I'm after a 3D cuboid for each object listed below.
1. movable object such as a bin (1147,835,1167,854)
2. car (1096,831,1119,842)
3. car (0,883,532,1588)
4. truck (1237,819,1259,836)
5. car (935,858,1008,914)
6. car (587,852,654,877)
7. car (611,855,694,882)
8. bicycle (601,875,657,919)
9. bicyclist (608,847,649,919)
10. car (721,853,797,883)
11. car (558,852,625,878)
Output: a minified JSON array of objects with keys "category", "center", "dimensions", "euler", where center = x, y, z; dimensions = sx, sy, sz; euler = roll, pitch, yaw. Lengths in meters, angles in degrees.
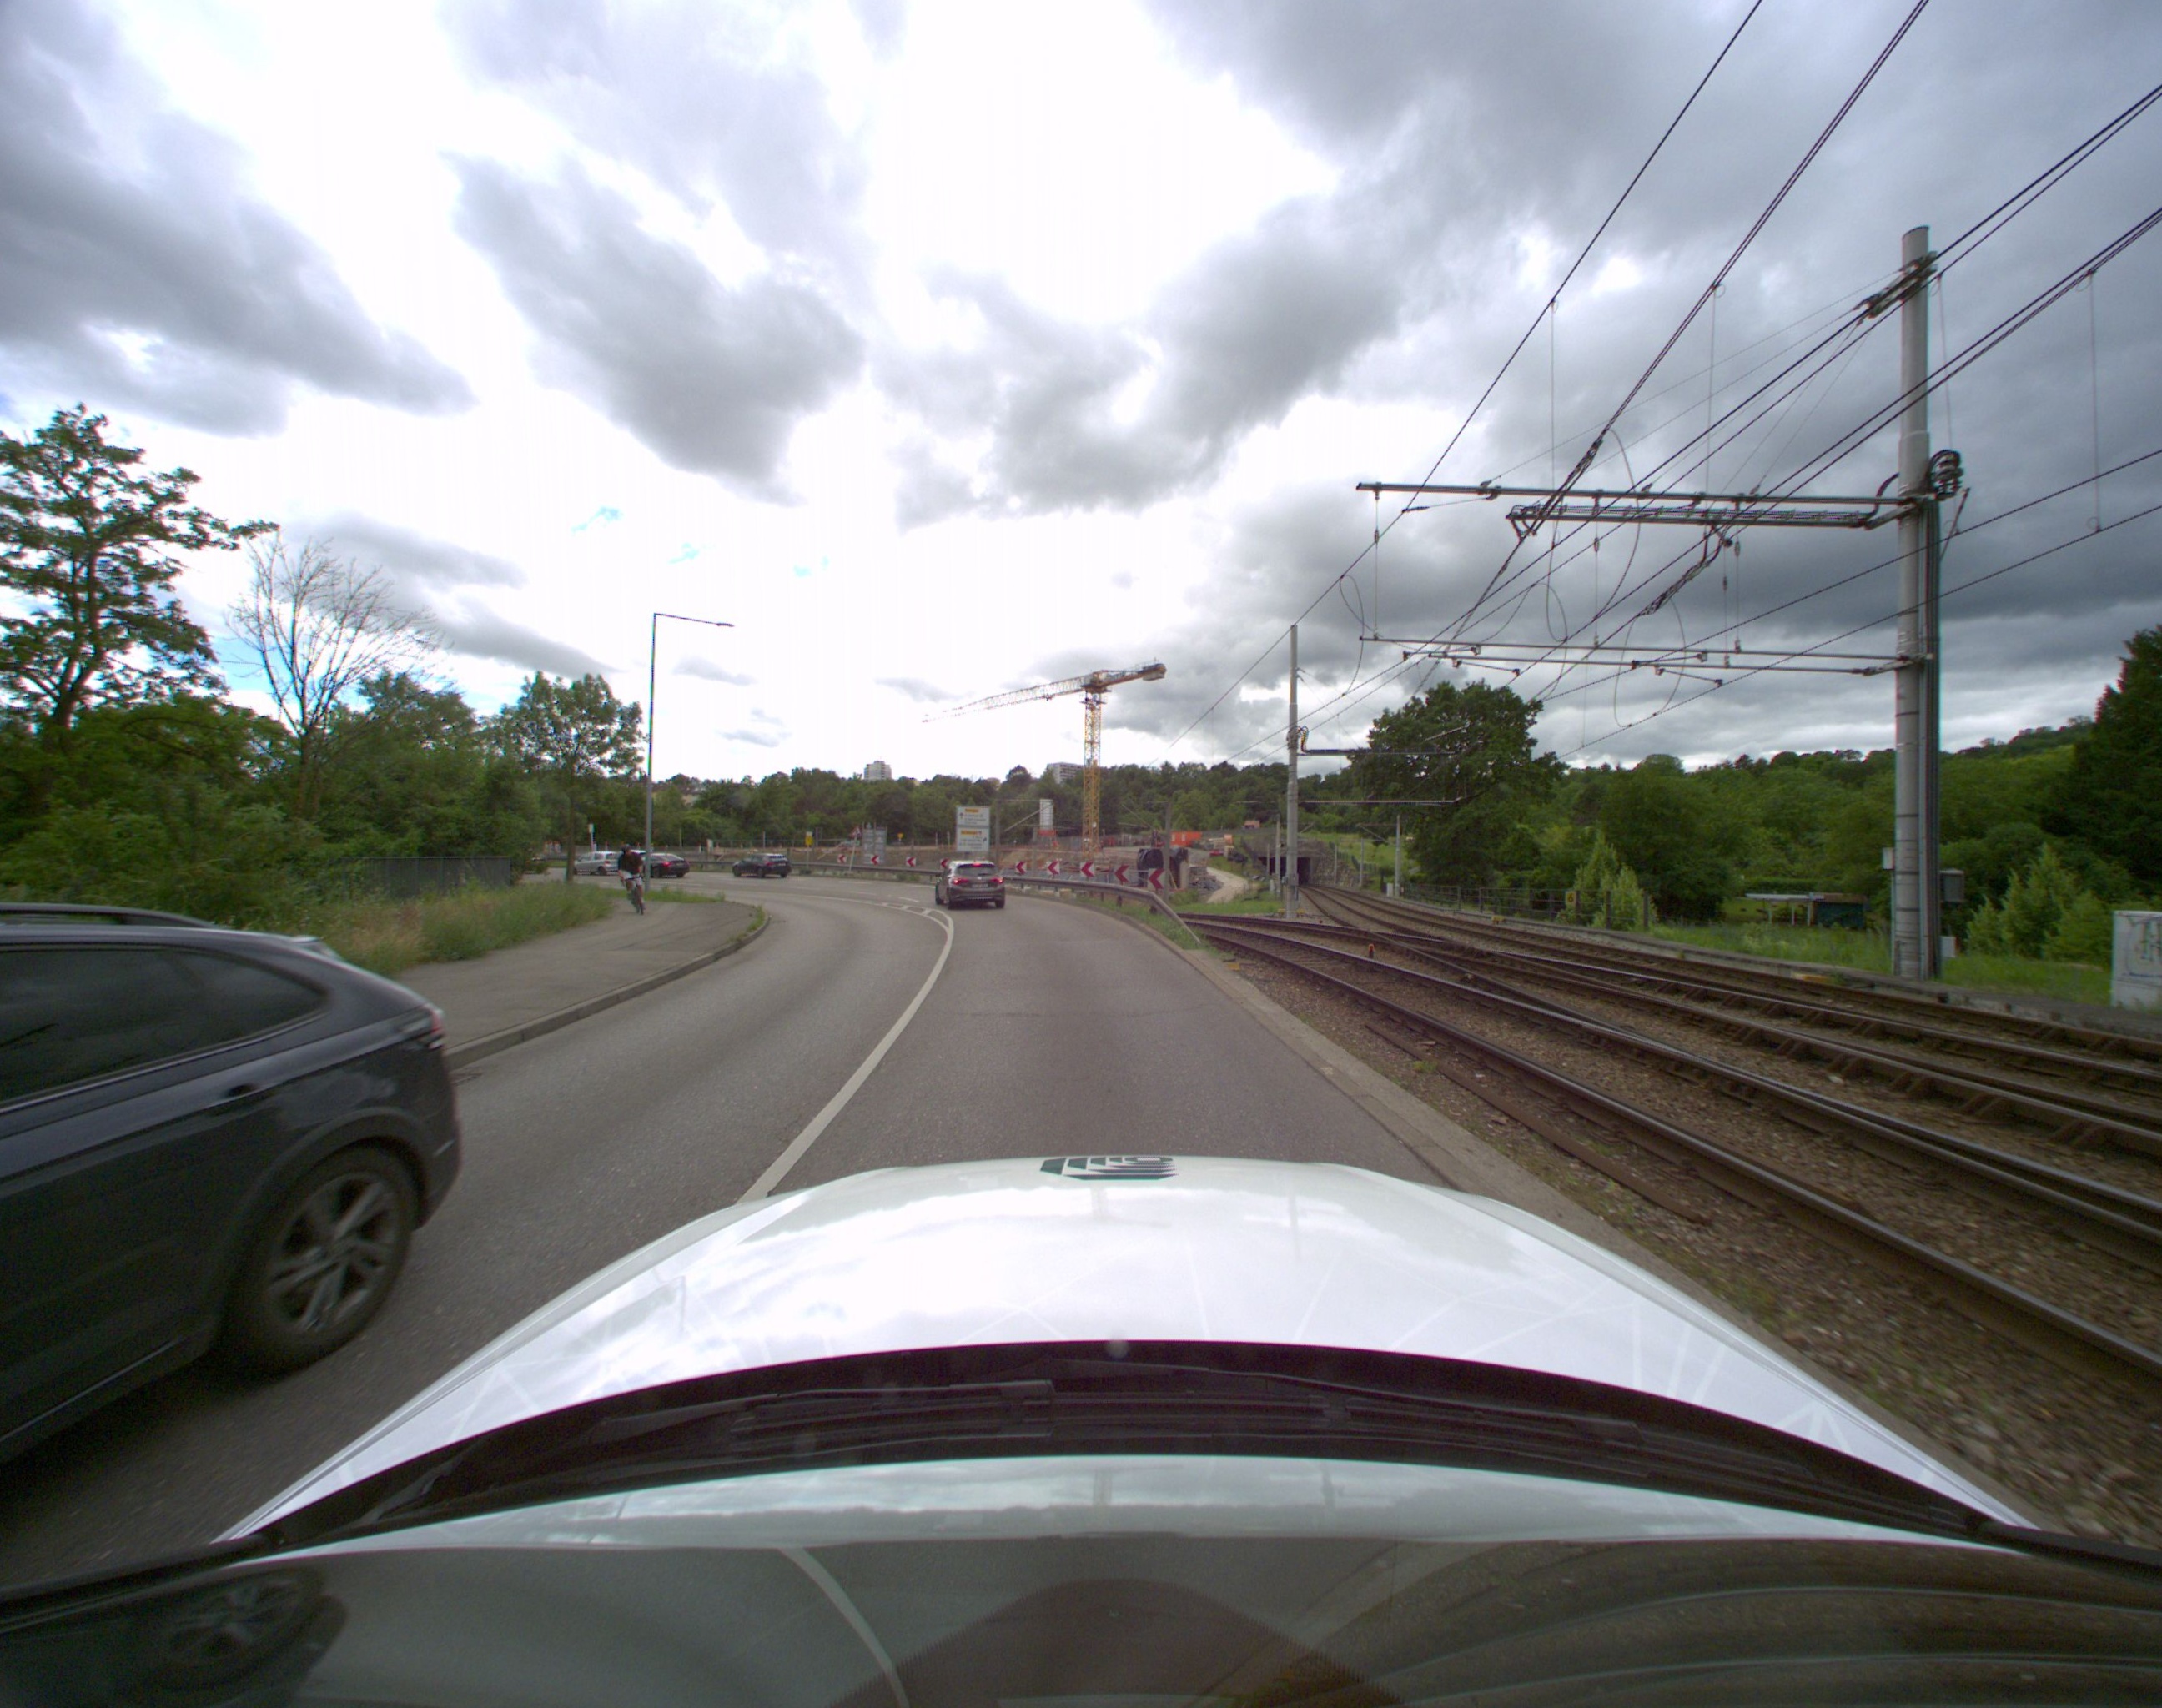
[{"category":"movable object such as a bin","center":[12.793,-1.613,137.087],"dimensions":[1.851,3.077,2.767],"euler":[0,-1,-41]},{"category":"car","center":[5.213,-3.400,159.370],"dimensions":[4.019,2.014,1.977],"euler":[0,-1,-38]},{"category":"car","center":[-3.160,0.841,1.556],"dimensions":[1.712,1.468,3.936],"euler":[-1,-1,-4]},{"category":"truck","center":[44.244,-7.055,215.288],"dimensions":[3.081,4.220,9.853],"euler":[1,1,28]},{"category":"car","center":[-3.651,0.986,26.645],"dimensions":[1.802,1.552,3.978],"euler":[0,1,-16]},{"category":"car","center":[-32.002,0.724,56.619],"dimensions":[3.956,1.675,1.724],"euler":[-1,-1,16]},{"category":"car","center":[-26.611,0.865,50.568],"dimensions":[4.903,1.476,1.890],"euler":[1,2,25]},{"category":"bicycle","center":[-11.897,1.117,21.487],"dimensions":[0.736,1.072,1.873],"euler":[2,-1,-12]},{"category":"bicyclist","center":[-11.828,0.752,21.331],"dimensions":[0.627,1.809,0.897],"euler":[2,-2,-13]},{"category":"car","center":[-19.831,0.837,50.147],"dimensions":[4.154,1.636,1.889],"euler":[1,2,22]},{"category":"car","center":[-31.621,0.689,52.664],"dimensions":[3.588,1.469,1.682],"euler":[1,3,17]}]
